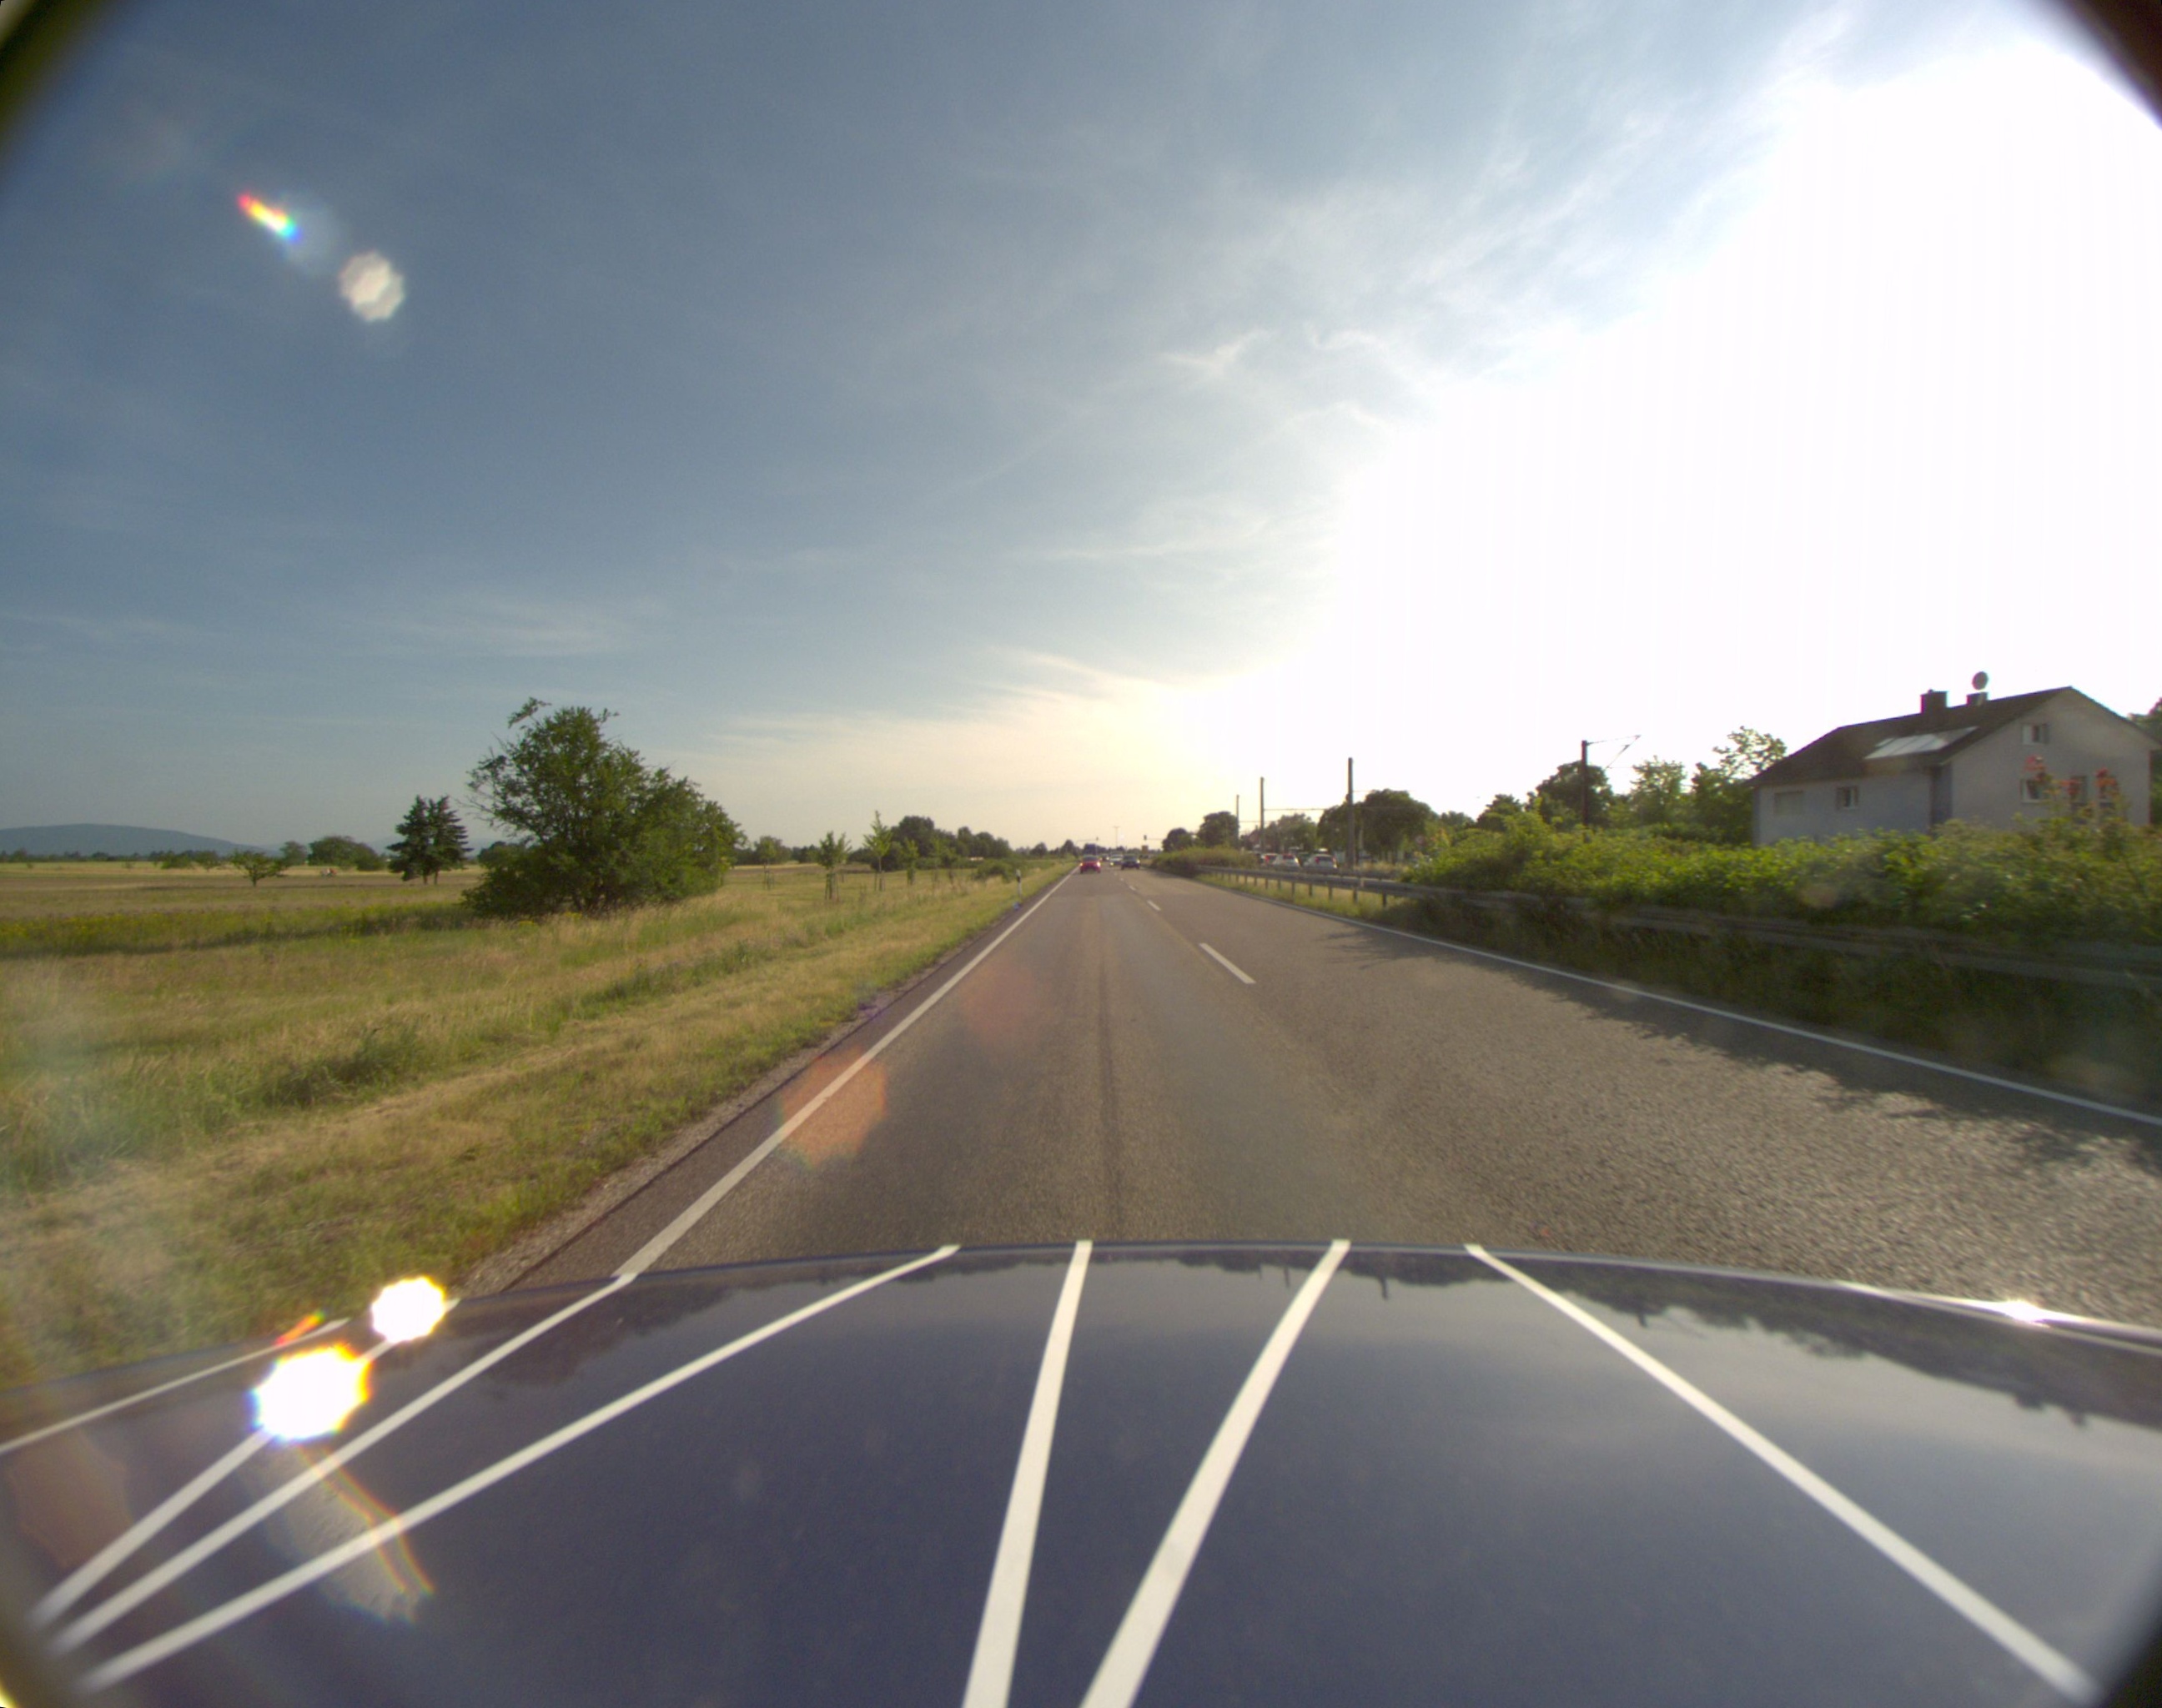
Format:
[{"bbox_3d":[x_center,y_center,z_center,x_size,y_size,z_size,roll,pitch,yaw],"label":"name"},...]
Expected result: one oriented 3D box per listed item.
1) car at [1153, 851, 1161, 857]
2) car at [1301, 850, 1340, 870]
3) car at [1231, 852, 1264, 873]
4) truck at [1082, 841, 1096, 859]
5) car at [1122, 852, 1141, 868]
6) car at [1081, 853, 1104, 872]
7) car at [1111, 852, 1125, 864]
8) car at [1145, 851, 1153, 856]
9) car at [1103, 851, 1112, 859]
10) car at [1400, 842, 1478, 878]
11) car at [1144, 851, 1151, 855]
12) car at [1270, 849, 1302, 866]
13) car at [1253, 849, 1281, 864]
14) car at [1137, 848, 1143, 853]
[{"bbox_3d":[19.855,-0.009,199.339,1.664,1.407,4.975,1,0,1],"label":"car"},{"bbox_3d":[17.705,0.402,56.270,1.733,1.358,3.622,2,0,1],"label":"car"},{"bbox_3d":[13.529,0.643,62.056,1.733,1.624,4.319,2,0,1],"label":"car"},{"bbox_3d":[1.908,-0.861,169.490,2.849,3.896,10.104,-2,0,1],"label":"truck"},{"bbox_3d":[4.876,0.551,73.864,1.636,1.500,4.000,-2,0,1],"label":"car"},{"bbox_3d":[0.971,0.685,62.968,1.735,1.467,4.000,-2,0,1],"label":"car"},{"bbox_3d":[4.680,0.445,95.905,1.636,1.442,4.000,-2,0,1],"label":"car"},{"bbox_3d":[19.388,-0.041,216.814,1.664,1.373,4.468,1,0,1],"label":"car"},{"bbox_3d":[5.173,0.211,150.538,1.636,1.442,4.000,-2,0,1],"label":"car"},{"bbox_3d":[17.265,0.269,36.907,1.719,1.602,4.446,-2,0,1],"label":"car"},{"bbox_3d":[20.593,-0.365,235.851,1.664,1.373,4.000,1,0,1],"label":"car"},{"bbox_3d":[17.469,0.259,64.924,1.733,1.358,3.622,2,0,1],"label":"car"},{"bbox_3d":[17.656,0.210,72.282,1.733,1.358,3.622,2,0,1],"label":"car"},{"bbox_3d":[19.762,-1.026,253.490,1.801,1.580,4.000,1,0,1],"label":"car"}]
